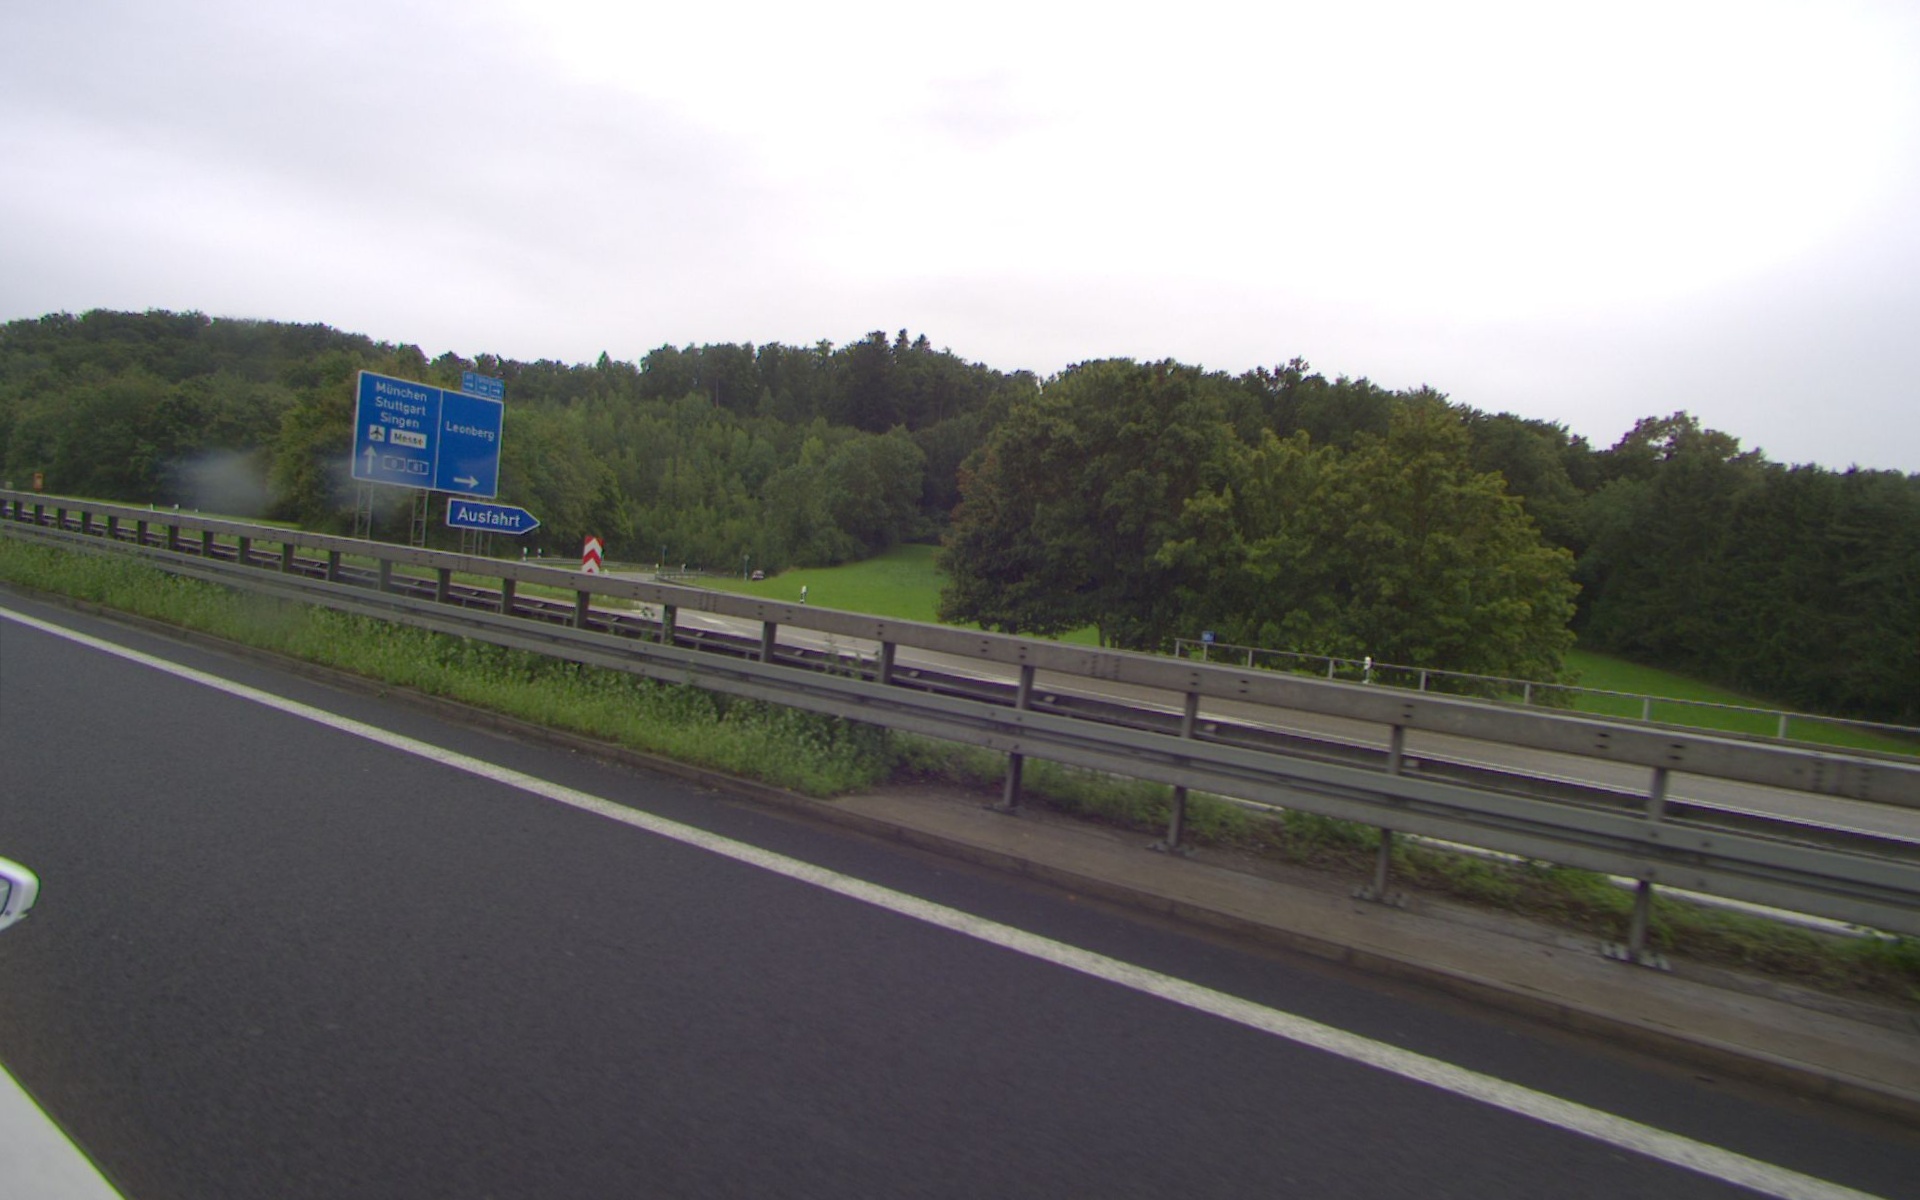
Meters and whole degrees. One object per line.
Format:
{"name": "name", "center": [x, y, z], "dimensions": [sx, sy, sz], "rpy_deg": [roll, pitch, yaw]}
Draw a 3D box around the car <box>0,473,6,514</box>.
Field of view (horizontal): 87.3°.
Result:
{"name": "car", "center": [-35.267, -3.904, 35.234], "dimensions": [4.058, 1.401, 1.667], "rpy_deg": [6, 2, 32]}
